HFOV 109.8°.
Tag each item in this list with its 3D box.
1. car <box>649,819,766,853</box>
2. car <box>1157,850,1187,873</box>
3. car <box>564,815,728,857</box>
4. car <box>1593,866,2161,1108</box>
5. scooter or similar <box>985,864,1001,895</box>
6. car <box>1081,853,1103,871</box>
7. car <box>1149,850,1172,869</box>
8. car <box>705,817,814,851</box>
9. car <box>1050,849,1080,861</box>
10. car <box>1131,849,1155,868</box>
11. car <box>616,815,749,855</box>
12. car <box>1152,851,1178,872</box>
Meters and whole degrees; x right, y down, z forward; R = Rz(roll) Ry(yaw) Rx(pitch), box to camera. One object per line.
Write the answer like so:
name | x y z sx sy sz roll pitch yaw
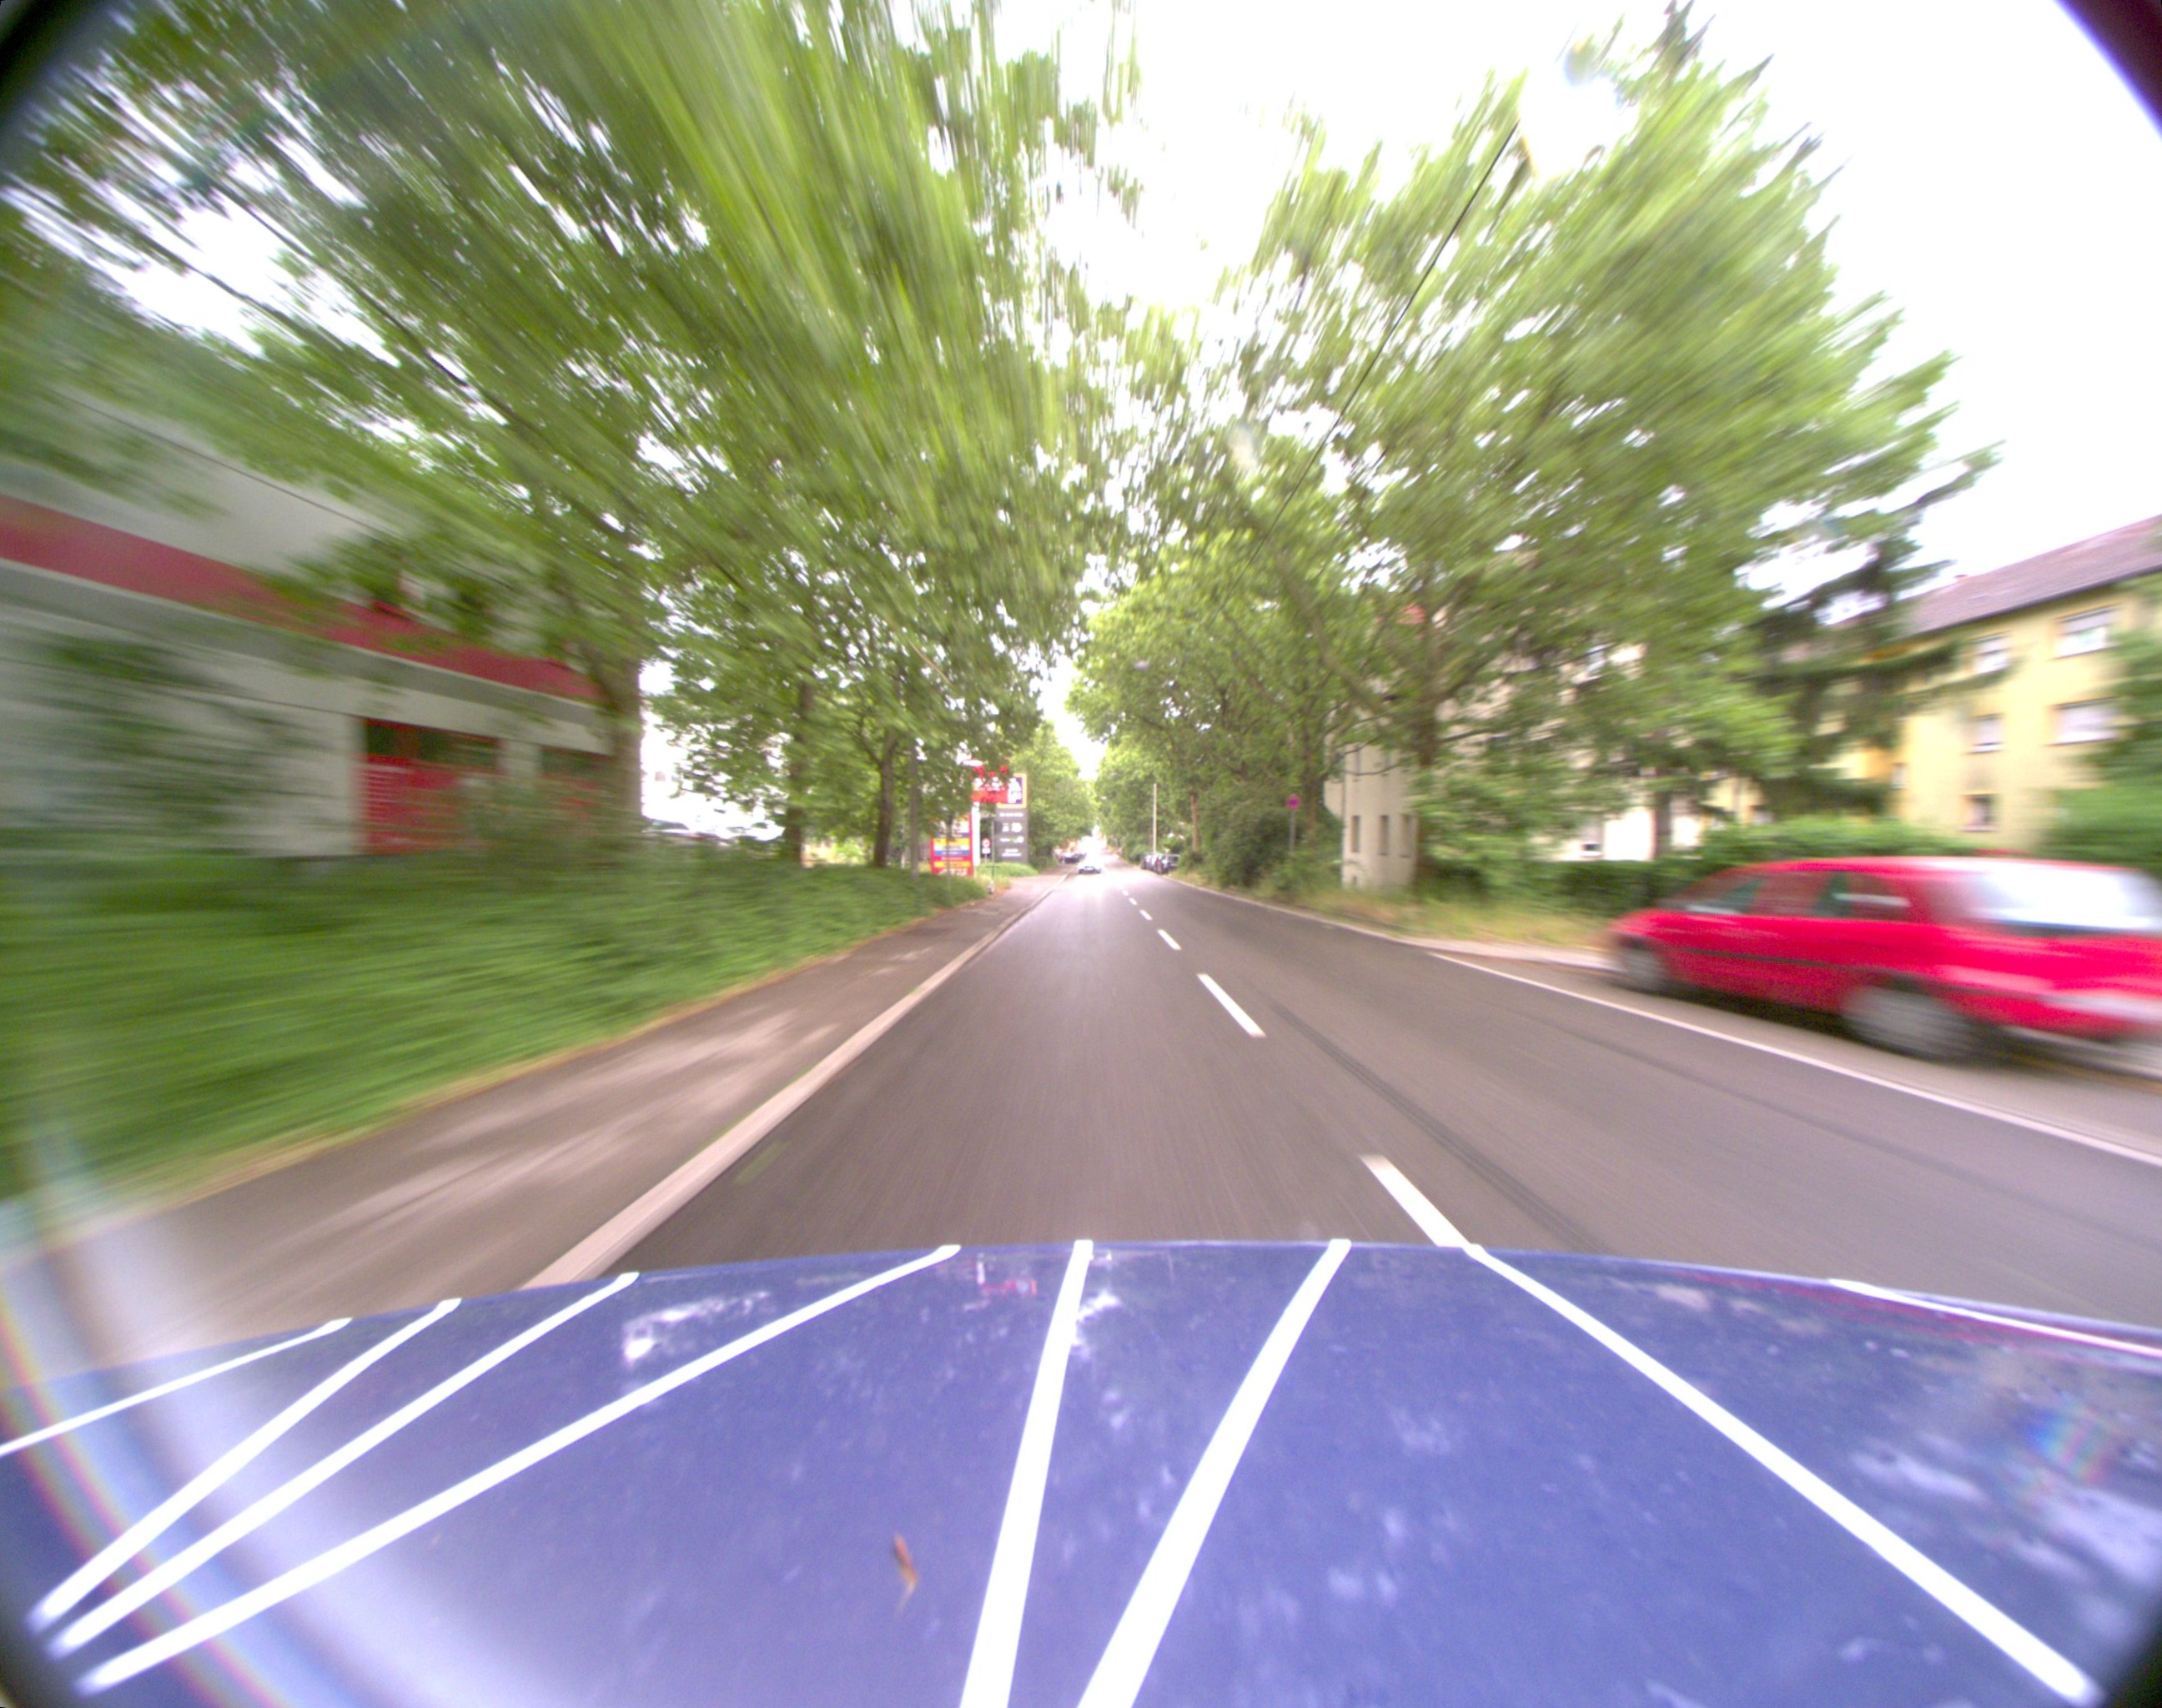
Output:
car | -15.496 -0.747 31.631 3.928 1.286 1.833 -2 1 3
car | 6.610 0.520 55.604 1.652 1.529 4.018 3 1 0
car | -15.008 -0.595 26.370 4.621 1.326 1.801 -1 0 1
car | 6.497 0.842 6.516 1.643 1.365 3.758 -1 0 -1
scooter or similar | -3.558 1.030 30.794 0.426 1.135 1.528 -2 3 -1
car | 0.888 0.654 62.387 1.692 1.334 3.998 0 2 -1
car | 6.917 0.448 66.447 1.676 1.499 4.123 -2 1 2
car | -14.508 -0.907 34.432 4.110 1.368 1.903 -2 1 3
car | -2.163 0.079 100.921 3.860 1.538 2.025 1 1 -5
car | 5.750 0.392 70.949 1.869 1.582 4.238 2 1 -1
car | -15.236 -0.708 29.218 4.110 1.458 1.885 0 1 2
car | 6.616 0.548 60.433 1.676 1.499 3.873 3 1 1
